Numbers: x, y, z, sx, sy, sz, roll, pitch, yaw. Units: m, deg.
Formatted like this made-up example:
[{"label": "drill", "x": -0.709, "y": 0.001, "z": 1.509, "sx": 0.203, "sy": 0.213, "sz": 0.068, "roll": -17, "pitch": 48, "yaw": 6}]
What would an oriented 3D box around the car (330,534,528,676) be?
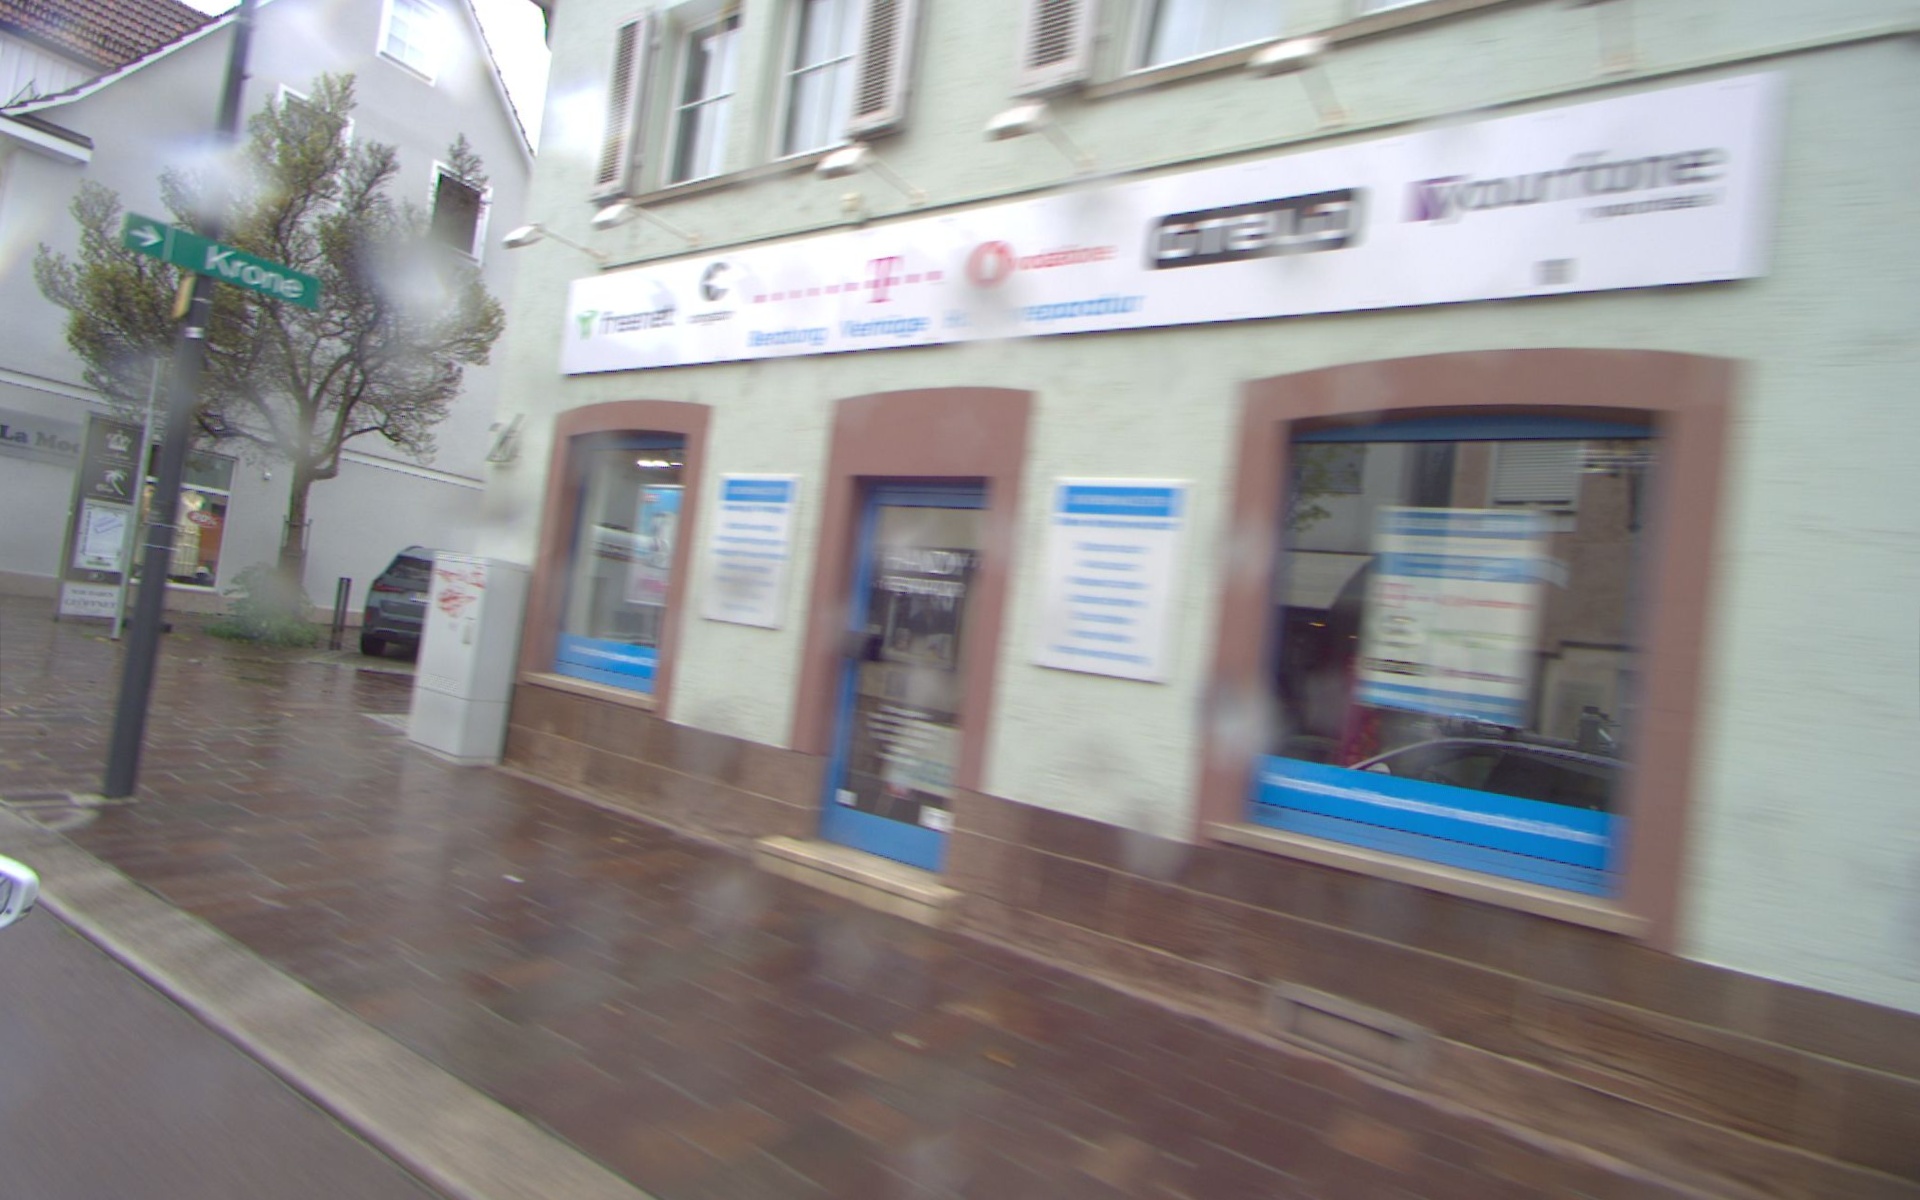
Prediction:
[{"label": "car", "x": -8.031, "y": 0.023, "z": 15.652, "sx": 1.798, "sy": 1.675, "sz": 4.342, "roll": 8, "pitch": 0, "yaw": -18}]
